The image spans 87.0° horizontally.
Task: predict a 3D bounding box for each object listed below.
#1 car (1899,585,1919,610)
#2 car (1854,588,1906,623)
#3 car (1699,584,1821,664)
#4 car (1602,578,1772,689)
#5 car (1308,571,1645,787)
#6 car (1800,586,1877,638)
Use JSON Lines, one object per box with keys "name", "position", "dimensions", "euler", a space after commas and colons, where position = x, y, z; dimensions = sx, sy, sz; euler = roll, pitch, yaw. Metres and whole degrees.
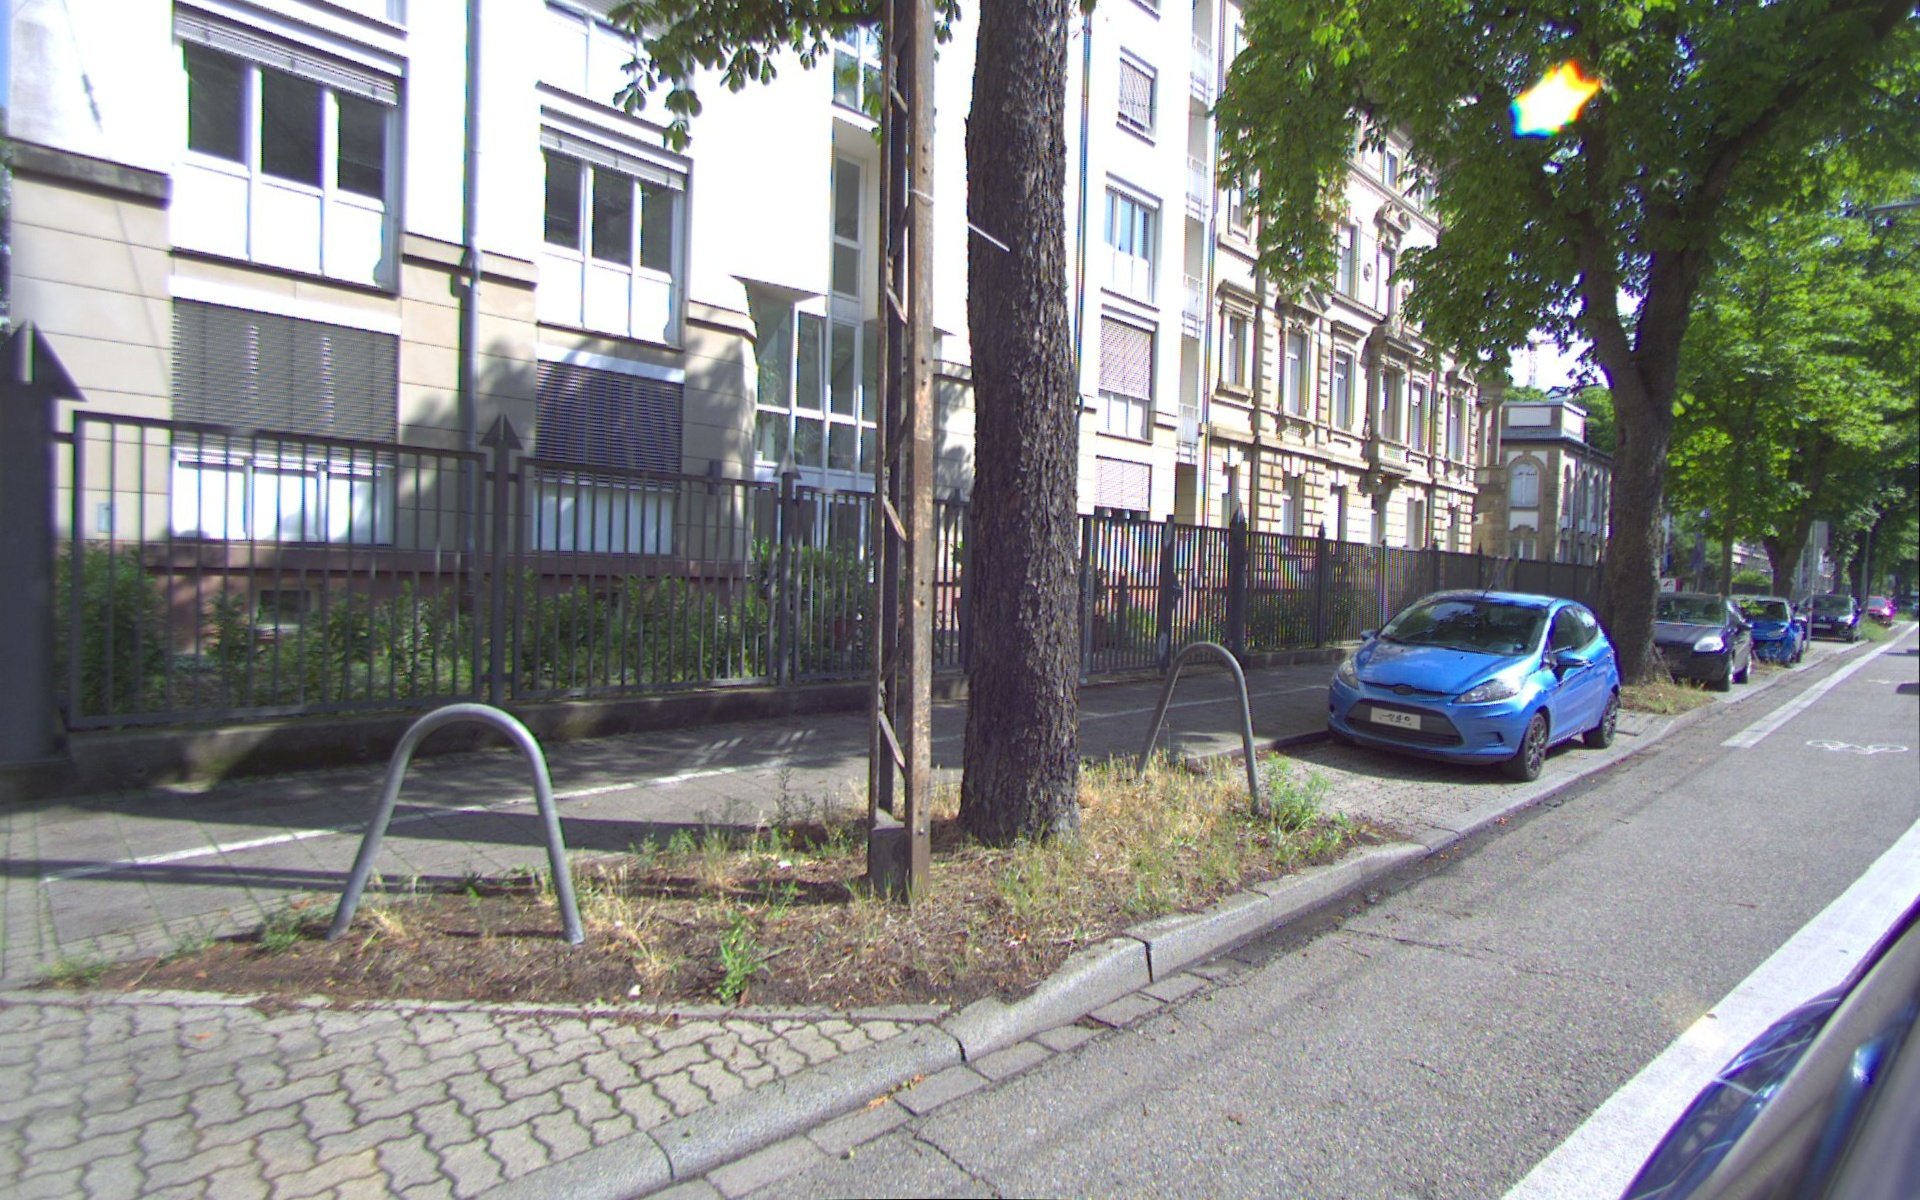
{"name": "car", "position": [64.293, -0.160, 67.904], "dimensions": [1.741, 1.592, 3.868], "euler": [7, 5, 44]}
{"name": "car", "position": [46.551, 0.255, 51.201], "dimensions": [1.741, 1.592, 3.868], "euler": [7, 5, 44]}
{"name": "car", "position": [17.640, 0.465, 22.269], "dimensions": [1.676, 1.493, 3.603], "euler": [7, 5, 44]}
{"name": "car", "position": [11.977, 0.472, 16.594], "dimensions": [1.676, 1.493, 3.603], "euler": [7, 5, 44]}
{"name": "car", "position": [4.888, 0.569, 9.373], "dimensions": [3.601, 1.493, 1.644], "euler": [0, 5, -45]}
{"name": "car", "position": [30.635, 0.378, 35.264], "dimensions": [1.741, 1.592, 3.603], "euler": [7, 5, 44]}
